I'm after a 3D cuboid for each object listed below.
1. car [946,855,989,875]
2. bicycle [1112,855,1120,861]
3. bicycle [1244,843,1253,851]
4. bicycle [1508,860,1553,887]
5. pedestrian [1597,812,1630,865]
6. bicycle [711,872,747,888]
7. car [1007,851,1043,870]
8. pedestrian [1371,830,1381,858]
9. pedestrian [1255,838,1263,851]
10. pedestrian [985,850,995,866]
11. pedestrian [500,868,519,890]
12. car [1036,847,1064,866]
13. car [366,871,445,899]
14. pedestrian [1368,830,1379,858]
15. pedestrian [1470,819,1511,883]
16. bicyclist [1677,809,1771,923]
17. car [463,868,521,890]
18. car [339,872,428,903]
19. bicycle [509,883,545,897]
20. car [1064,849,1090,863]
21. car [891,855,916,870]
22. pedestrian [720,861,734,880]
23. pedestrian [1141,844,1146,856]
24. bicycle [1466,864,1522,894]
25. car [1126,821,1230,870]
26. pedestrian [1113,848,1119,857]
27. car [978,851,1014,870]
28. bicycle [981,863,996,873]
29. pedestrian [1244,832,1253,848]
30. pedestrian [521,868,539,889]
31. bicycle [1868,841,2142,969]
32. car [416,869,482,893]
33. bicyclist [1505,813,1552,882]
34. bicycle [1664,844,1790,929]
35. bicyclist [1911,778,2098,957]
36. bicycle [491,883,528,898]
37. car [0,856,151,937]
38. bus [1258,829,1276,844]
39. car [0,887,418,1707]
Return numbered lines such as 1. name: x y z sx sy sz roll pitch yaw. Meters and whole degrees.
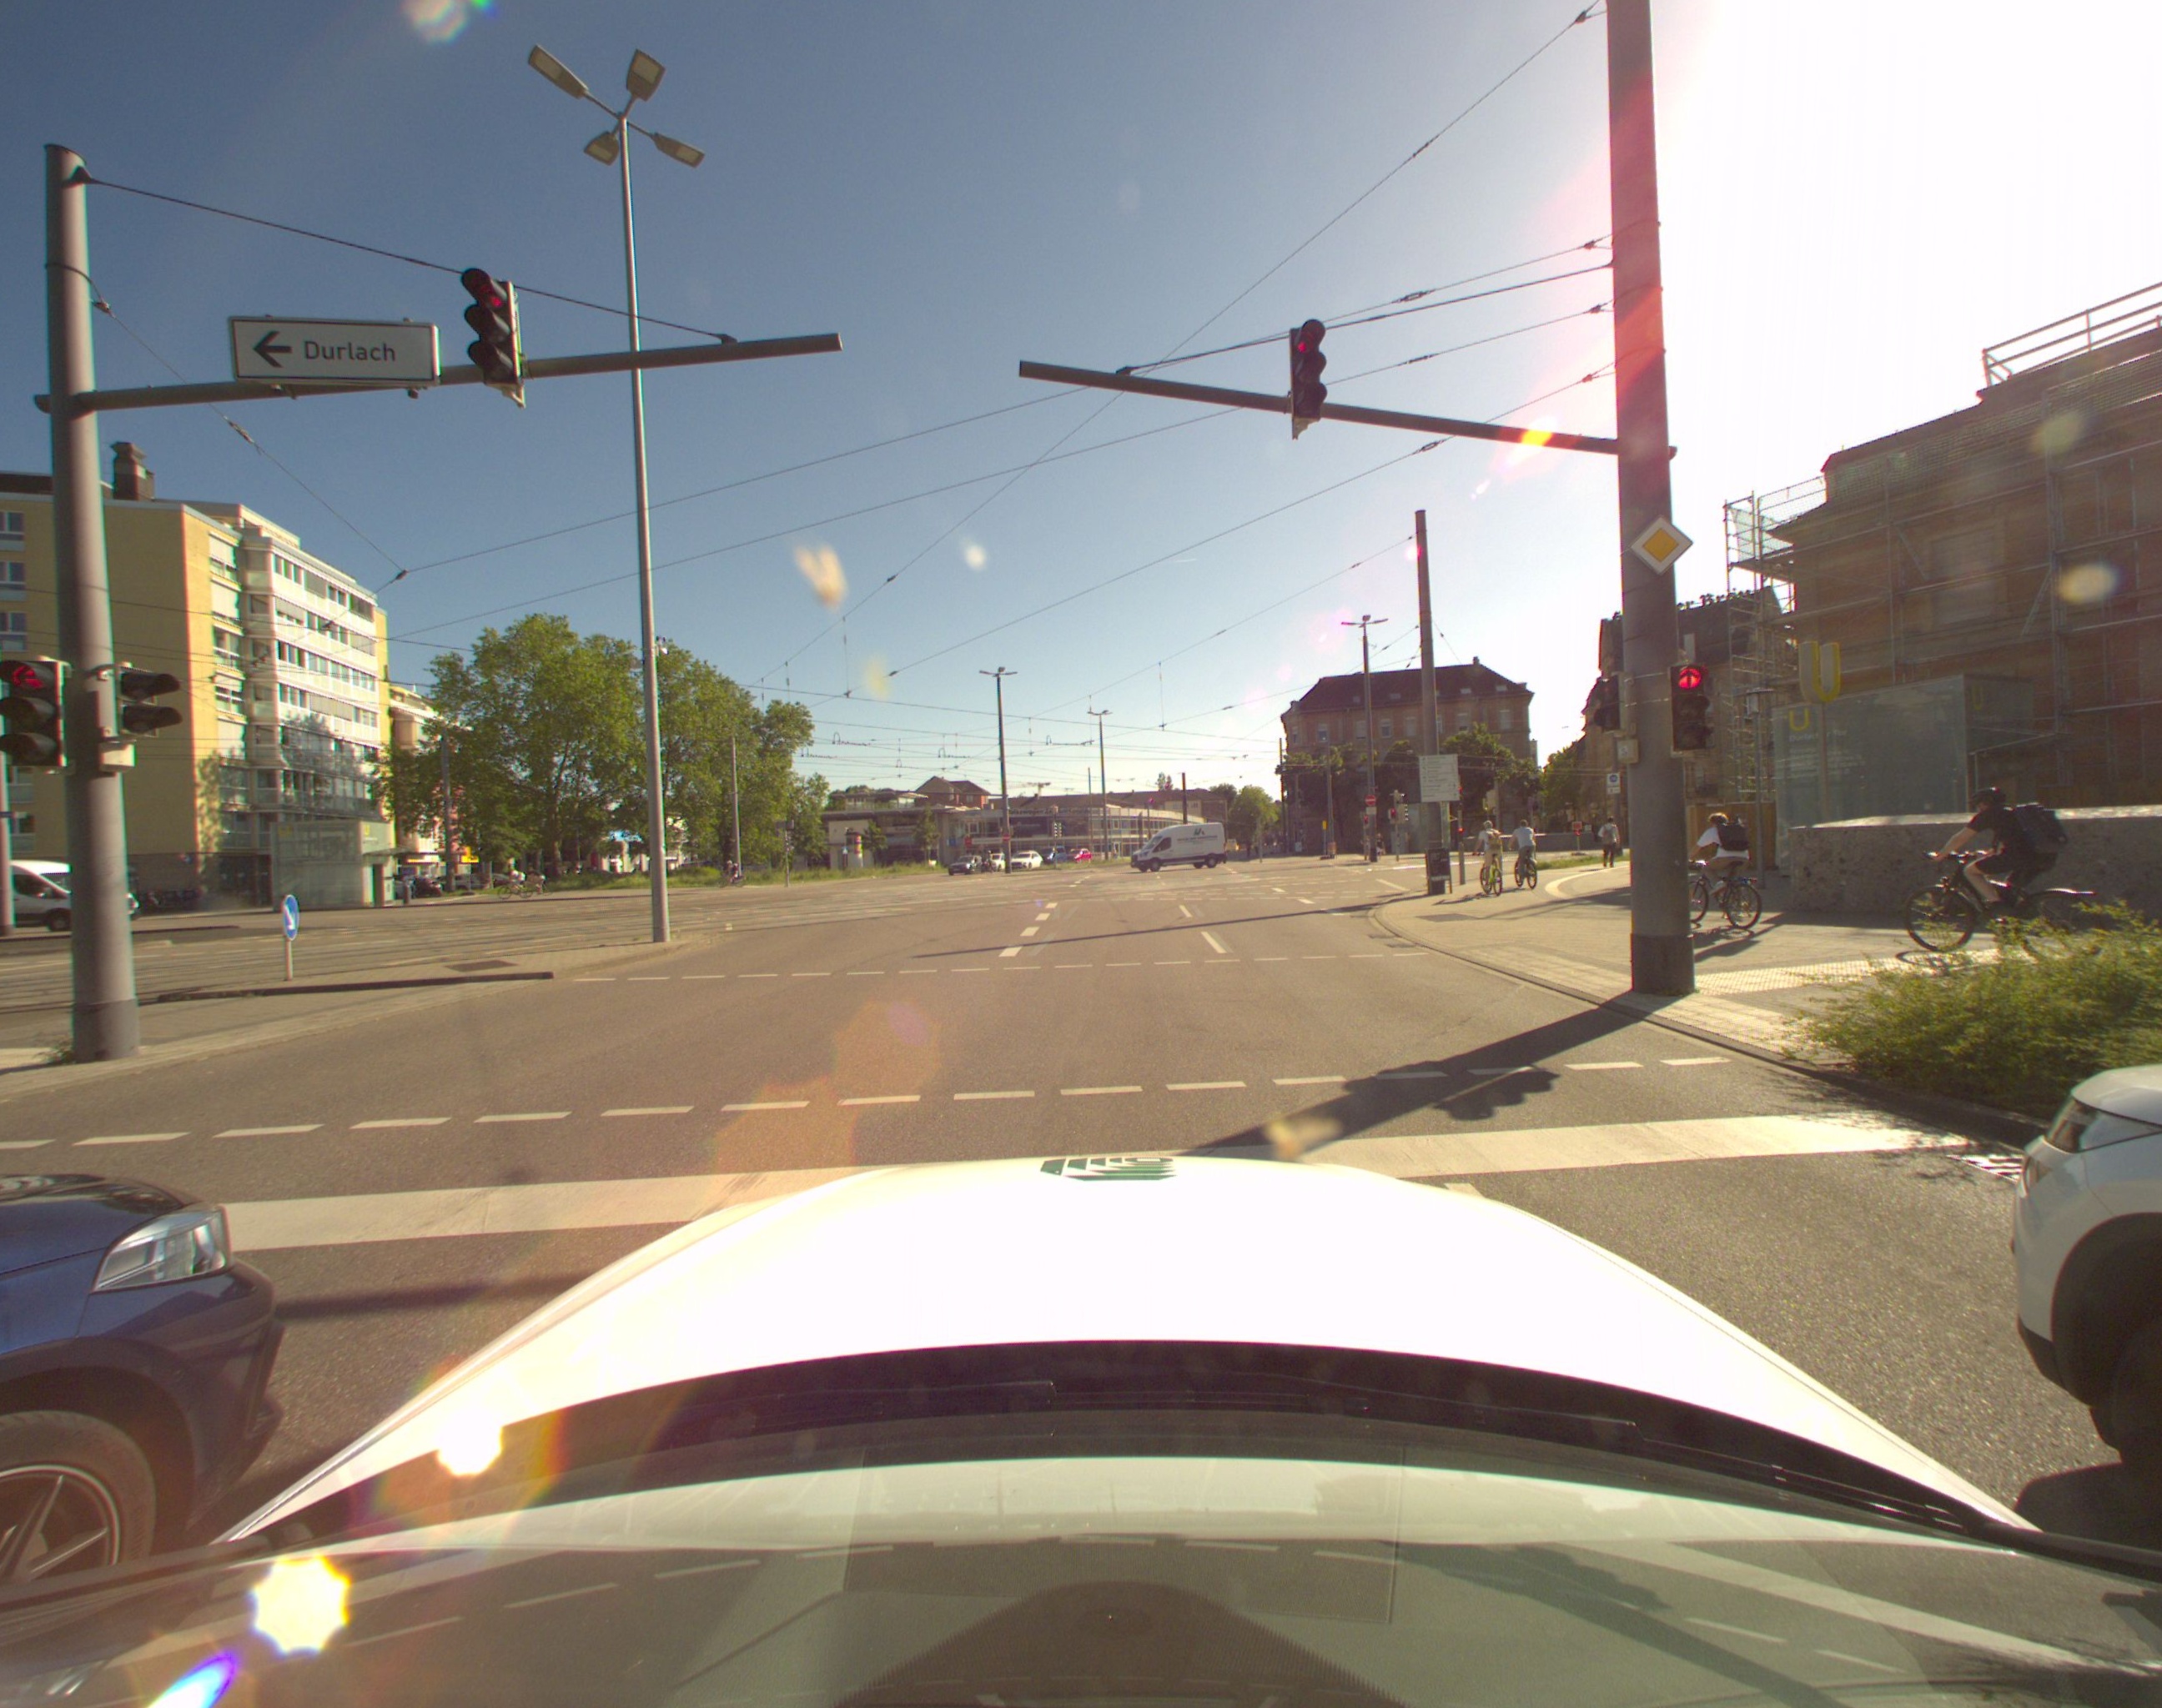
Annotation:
1. car: -8.499 0.782 61.245 1.689 1.354 3.719 -2 0 19
2. bicycle: 4.368 0.458 102.443 0.418 0.718 1.484 -2 0 28
3. bicycle: 17.140 -0.720 83.392 0.737 0.870 1.940 -2 0 18
4. bicycle: 12.024 0.514 21.841 0.534 0.655 1.471 -3 0 8
5. pedestrian: 19.305 -0.553 29.516 0.887 1.859 0.933 -2 0 36
6. bicycle: -22.467 1.669 51.985 2.015 0.913 0.558 -2 0 -25
7. car: -4.473 0.514 65.225 1.613 1.382 3.754 -2 0 17
8. pedestrian: 21.863 -0.733 60.314 0.461 2.013 0.449 -3 0 -16
9. pedestrian: 21.427 -1.169 98.075 0.740 1.523 0.721 -2 0 17
10. pedestrian: -6.828 0.279 60.868 0.419 1.204 0.753 -2 0 19
11. pedestrian: -31.883 1.374 45.428 0.750 1.204 0.421 -2 0 -21
12. car: -2.992 0.238 79.217 1.613 1.692 3.702 -2 0 17
13. car: -45.780 2.089 55.276 3.742 1.662 1.585 -2 0 -18
14. pedestrian: 21.435 -0.714 59.679 0.574 2.013 0.449 -3 0 -16
15. pedestrian: 10.277 -0.071 20.466 0.546 1.562 0.858 -2 0 0
16. bicyclist: 9.453 0.171 12.004 0.568 1.568 0.949 -5 0 7
17. car: -51.441 2.173 71.218 3.742 1.662 1.585 -2 0 -18
18. car: -42.906 2.051 50.164 3.742 1.662 1.585 -2 0 -18
19. bicycle: -31.934 2.082 46.957 1.634 0.718 0.421 -2 0 -18
20. car: -0.439 0.245 86.288 1.613 1.364 3.703 -2 0 18
21. car: -21.867 1.073 100.597 1.958 1.706 4.085 -2 0 2
22. pedestrian: -22.571 1.051 51.949 0.798 1.204 0.556 -2 0 -25
23. pedestrian: 9.085 -0.533 118.677 0.537 1.688 0.634 -2 0 27
24. bicycle: 10.371 0.614 20.503 0.535 0.655 1.726 -5 0 1
25. car: 5.927 -0.528 49.841 5.920 2.744 2.131 -2 0 -18
26. pedestrian: 4.413 -0.178 102.575 0.418 1.204 0.684 -2 0 28
27. car: -6.979 0.553 67.168 1.613 1.424 3.702 -2 0 17
28. bicycle: -6.855 1.032 60.696 0.419 0.718 1.642 -2 0 19
29. pedestrian: 17.229 -1.411 83.831 0.796 1.632 0.721 -2 0 17
30. pedestrian: -31.799 1.418 47.012 0.749 1.127 0.421 -2 0 -18
31. bicycle: 9.284 0.462 8.317 0.623 1.114 1.851 -5 0 0
32. car: -49.867 2.145 64.294 3.742 1.662 1.585 -2 0 -18
33. bicyclist: 12.031 -0.188 21.926 0.743 1.778 0.926 -3 0 7
34. bicycle: 9.483 0.443 12.044 0.568 1.125 1.744 -5 0 8
35. bicyclist: 9.245 0.125 8.204 0.623 1.637 0.995 -5 0 0
36. bicycle: -31.868 2.021 45.423 1.635 0.758 0.421 -2 0 -21
37. car: -35.334 1.449 27.148 5.413 2.508 1.989 -2 0 -16
38. bus: 51.691 -4.638 225.671 3.808 3.607 24.964 -1 0 15
39. car: -2.678 0.819 0.141 1.704 1.445 4.034 -1 0 2
